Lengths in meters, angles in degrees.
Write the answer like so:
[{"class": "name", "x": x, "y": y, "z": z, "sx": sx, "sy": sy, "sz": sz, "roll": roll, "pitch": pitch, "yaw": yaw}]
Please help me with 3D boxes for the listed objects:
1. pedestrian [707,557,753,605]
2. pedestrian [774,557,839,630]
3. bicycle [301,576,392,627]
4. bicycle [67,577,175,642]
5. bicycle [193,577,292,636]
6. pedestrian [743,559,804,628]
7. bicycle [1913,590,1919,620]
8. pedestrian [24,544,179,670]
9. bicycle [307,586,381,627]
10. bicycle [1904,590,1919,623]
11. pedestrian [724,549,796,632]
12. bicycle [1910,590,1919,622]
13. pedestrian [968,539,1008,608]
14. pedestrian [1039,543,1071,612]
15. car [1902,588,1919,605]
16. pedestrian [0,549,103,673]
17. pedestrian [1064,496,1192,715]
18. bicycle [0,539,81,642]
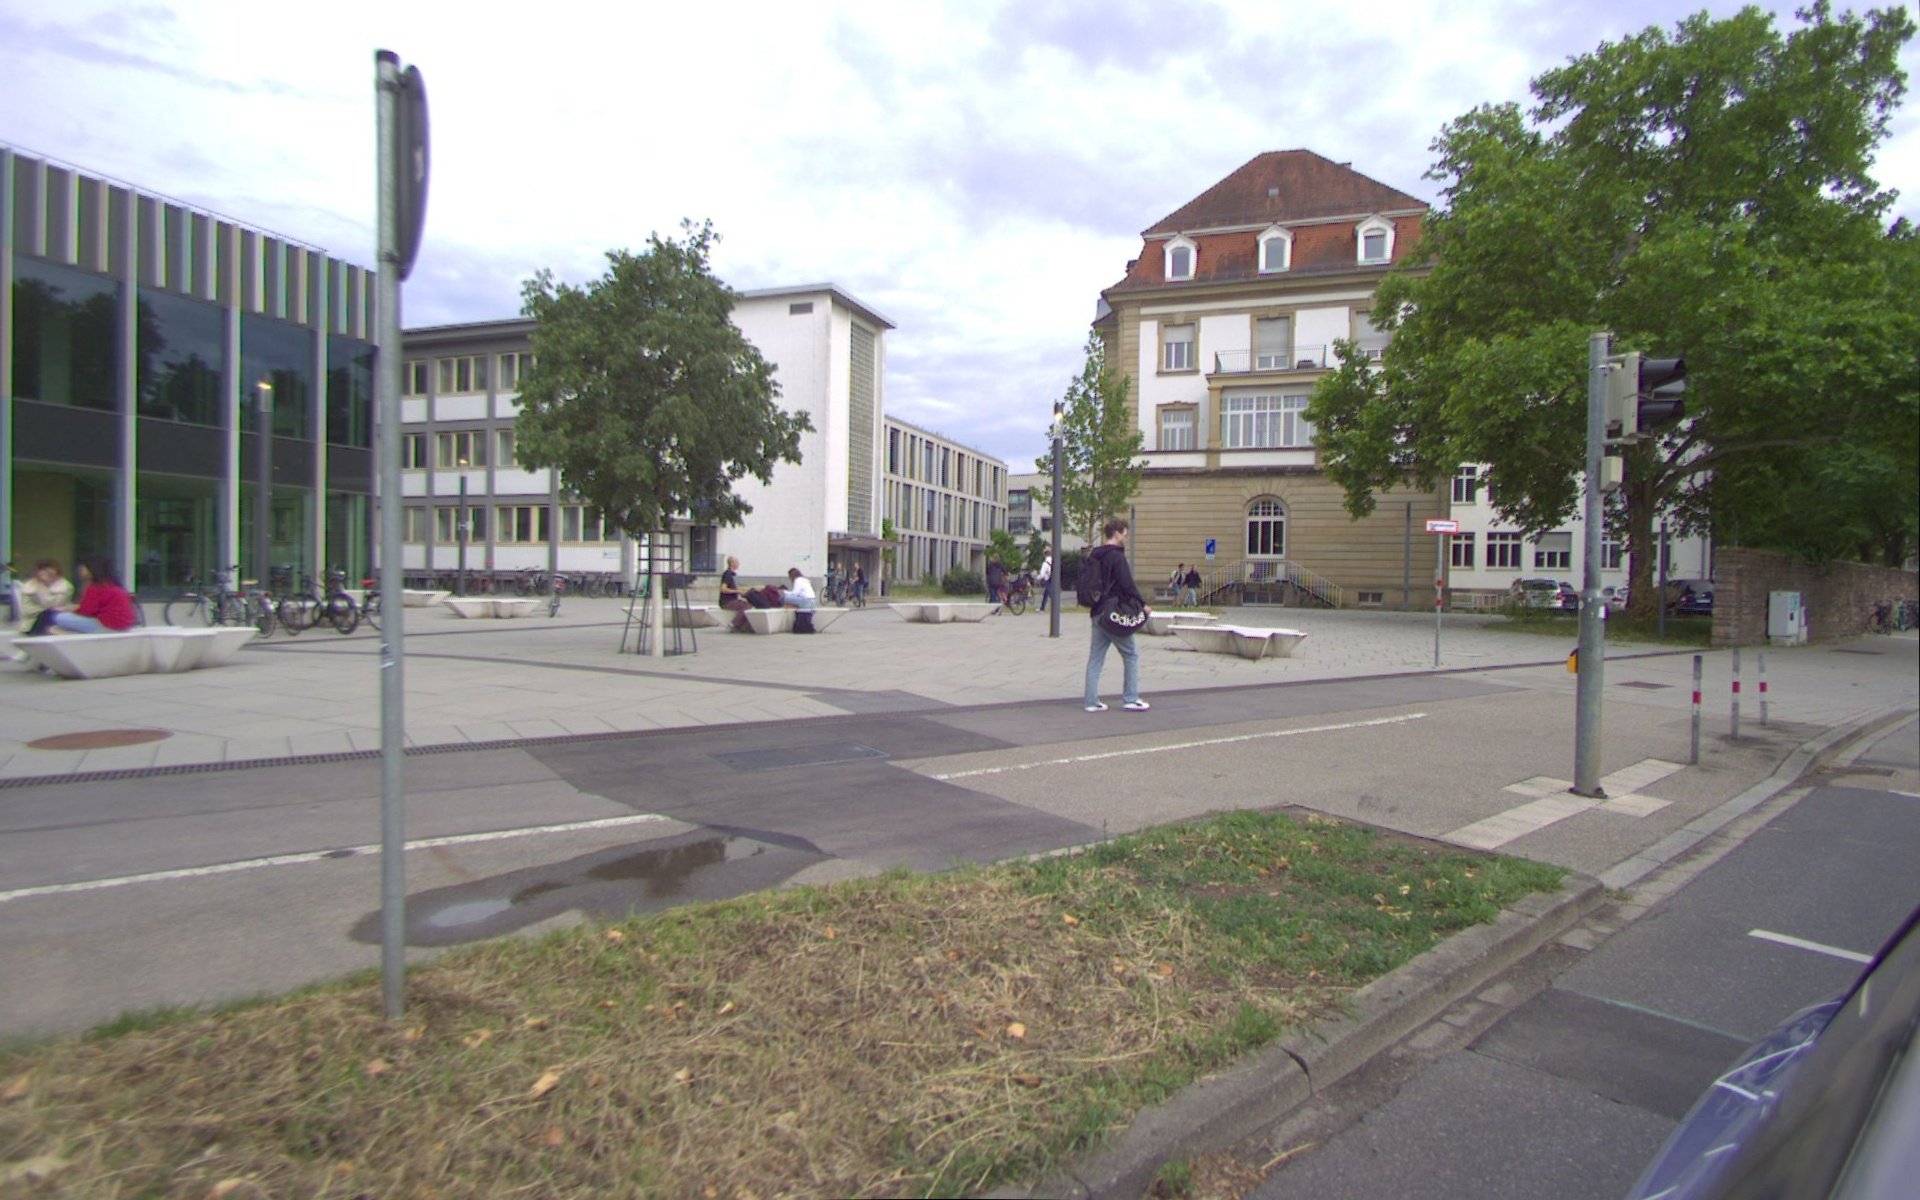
[{"class": "pedestrian", "x": -4.125, "y": -0.347, "z": 18.148, "sx": 0.718, "sy": 0.833, "sz": 0.638, "roll": 0, "pitch": 2, "yaw": -20}, {"class": "pedestrian", "x": -2.783, "y": -0.117, "z": 18.326, "sx": 0.861, "sy": 1.273, "sz": 0.912, "roll": 0, "pitch": -1, "yaw": -33}, {"class": "bicycle", "x": -11.618, "y": 0.012, "z": 19.169, "sx": 1.526, "sy": 0.910, "sz": 0.508, "roll": 1, "pitch": 1, "yaw": 11}, {"class": "bicycle", "x": -12.443, "y": 0.134, "z": 15.011, "sx": 1.449, "sy": 0.910, "sz": 0.393, "roll": 1, "pitch": 1, "yaw": 11}, {"class": "bicycle", "x": -11.719, "y": 0.102, "z": 16.540, "sx": 1.335, "sy": 0.910, "sz": 0.541, "roll": 1, "pitch": 1, "yaw": 11}, {"class": "pedestrian", "x": -3.549, "y": -0.115, "z": 19.204, "sx": 0.861, "sy": 1.273, "sz": 0.912, "roll": 0, "pitch": -1, "yaw": -33}, {"class": "bicycle", "x": 37.143, "y": 0.210, "z": 38.770, "sx": 0.382, "sy": 1.158, "sz": 1.924, "roll": 0, "pitch": 0, "yaw": 27}, {"class": "pedestrian", "x": -8.698, "y": 0.058, "z": 10.292, "sx": 0.877, "sy": 1.221, "sz": 0.846, "roll": 1, "pitch": 1, "yaw": -2}, {"class": "bicycle", "x": -11.667, "y": 0.113, "z": 19.177, "sx": 1.168, "sy": 0.699, "sz": 0.489, "roll": 3, "pitch": 2, "yaw": 11}, {"class": "bicycle", "x": 33.721, "y": 0.219, "z": 35.710, "sx": 0.384, "sy": 1.158, "sz": 1.916, "roll": -1, "pitch": 0, "yaw": 37}, {"class": "pedestrian", "x": -3.432, "y": -0.158, "z": 17.344, "sx": 0.909, "sy": 1.384, "sz": 0.864, "roll": -1, "pitch": -1, "yaw": 44}, {"class": "bicycle", "x": 35.964, "y": 0.213, "z": 37.886, "sx": 0.384, "sy": 1.158, "sz": 1.916, "roll": -1, "pitch": 0, "yaw": 37}, {"class": "pedestrian", "x": 0.799, "y": -0.754, "z": 28.721, "sx": 0.734, "sy": 1.909, "sz": 0.878, "roll": 2, "pitch": 1, "yaw": 35}, {"class": "pedestrian", "x": 2.765, "y": -0.669, "z": 29.467, "sx": 0.651, "sy": 1.983, "sz": 0.678, "roll": 2, "pitch": 2, "yaw": 36}, {"class": "car", "x": 101.854, "y": -0.332, "z": 106.289, "sx": 1.963, "sy": 1.792, "sz": 3.998, "roll": 0, "pitch": 2, "yaw": -38}, {"class": "pedestrian", "x": -9.431, "y": 0.096, "z": 10.313, "sx": 0.827, "sy": 1.208, "sz": 0.896, "roll": 0, "pitch": 1, "yaw": -22}, {"class": "pedestrian", "x": 1.659, "y": 0.039, "z": 10.026, "sx": 0.877, "sy": 2.038, "sz": 0.845, "roll": 0, "pitch": 1, "yaw": -34}, {"class": "bicycle", "x": -12.972, "y": -0.161, "z": 14.037, "sx": 1.994, "sy": 1.322, "sz": 0.638, "roll": 4, "pitch": 1, "yaw": 33}]
